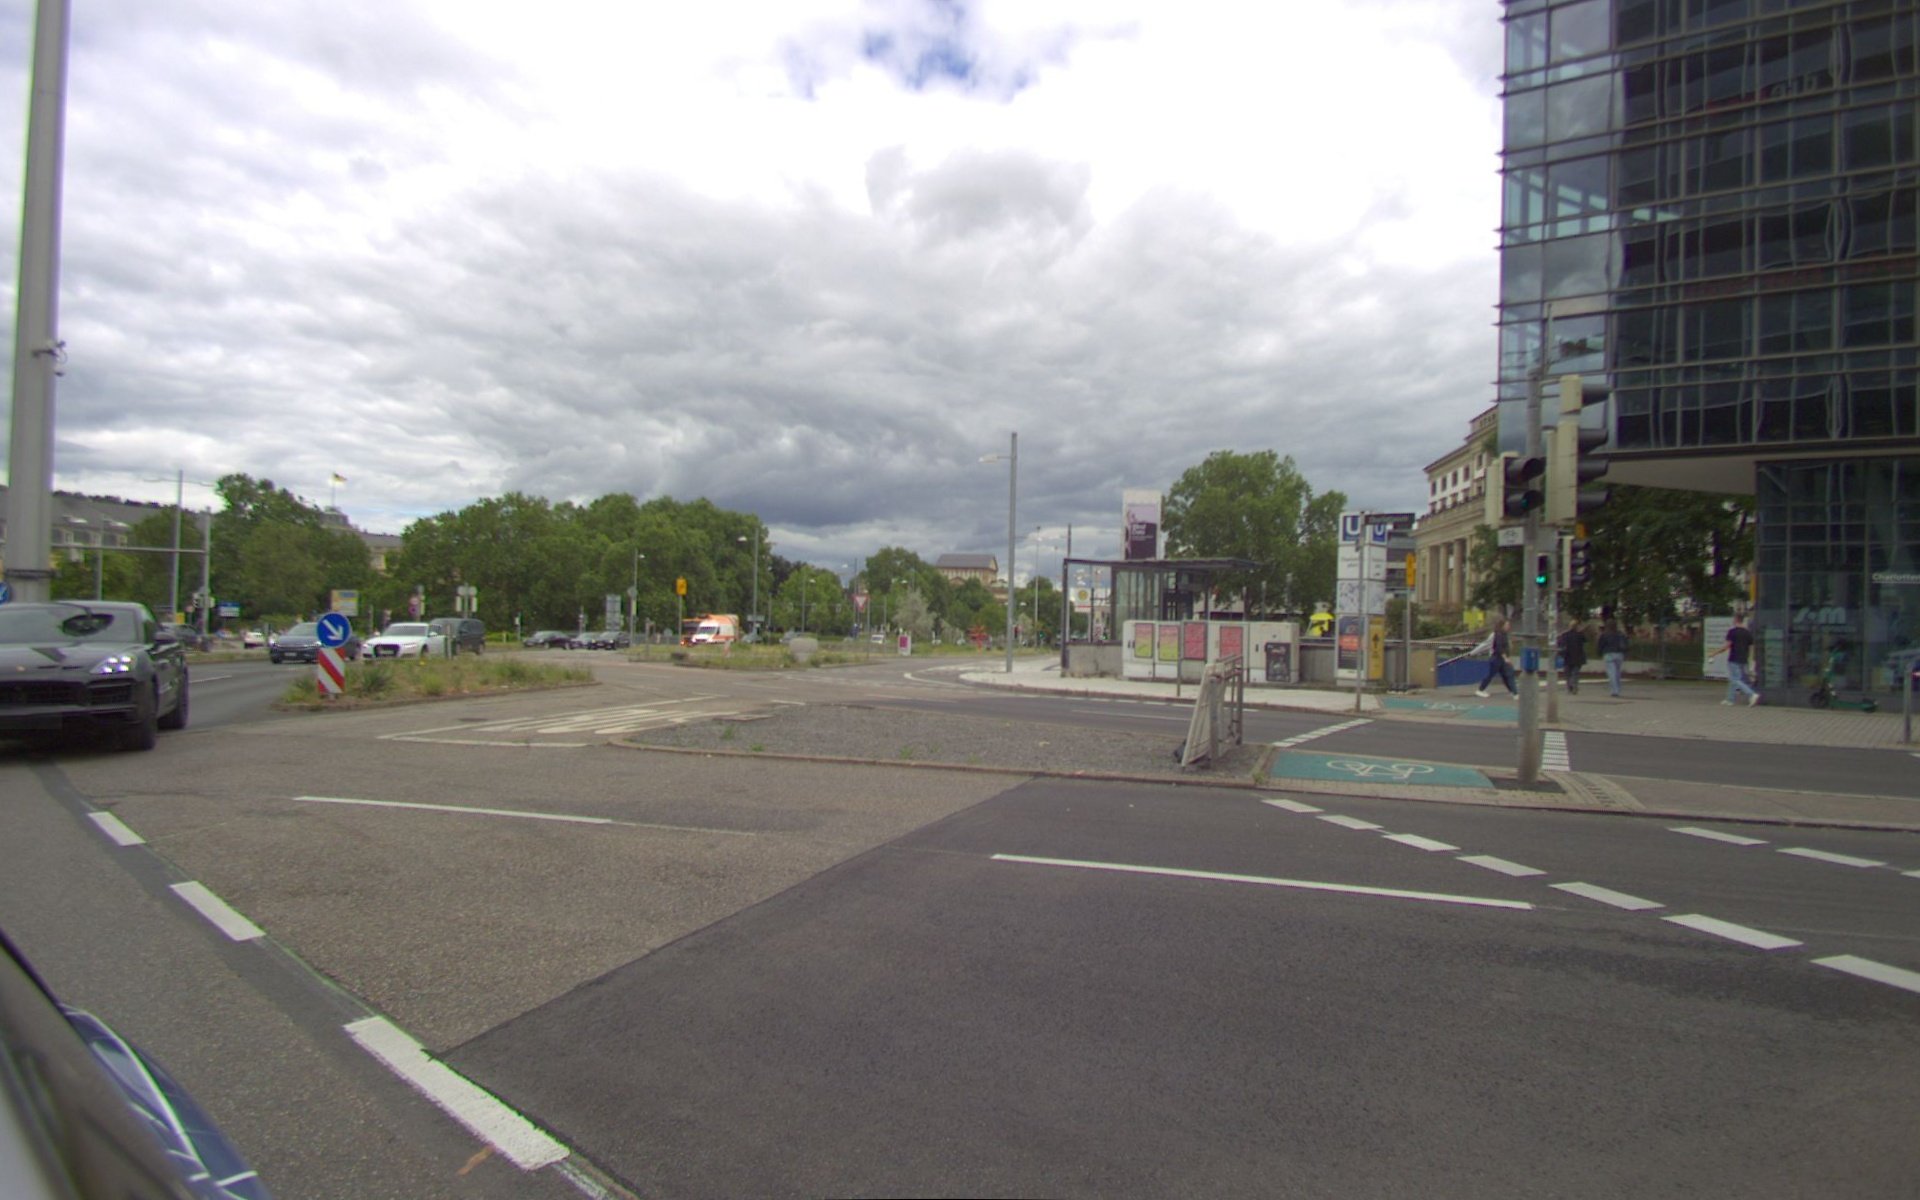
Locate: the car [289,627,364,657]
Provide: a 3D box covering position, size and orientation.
[{"bbox_3d":[-34.642,2.322,55.479,1.966,1.516,5.053,0,-3,-14],"label":"car"}]

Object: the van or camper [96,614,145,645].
[{"bbox_3d":[-54.480,1.869,65.644,4.714,1.931,1.840,-1,-2,43],"label":"van or camper"}]

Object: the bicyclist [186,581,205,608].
[{"bbox_3d":[-47.434,-0.332,62.763,0.501,1.652,0.717,0,-3,18],"label":"bicyclist"}]

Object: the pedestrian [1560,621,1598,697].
[{"bbox_3d":[14.218,1.343,23.259,0.629,1.713,0.763,-1,-2,26],"label":"pedestrian"}]

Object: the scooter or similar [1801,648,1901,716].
[{"bbox_3d":[17.063,1.548,19.409,0.525,1.217,1.388,1,-2,-10],"label":"scooter or similar"}]

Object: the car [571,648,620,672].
[{"bbox_3d":[-26.689,4.378,74.288,1.839,1.752,3.730,0,-3,8],"label":"car"}]

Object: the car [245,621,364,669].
[{"bbox_3d":[-23.276,1.578,36.121,1.969,1.614,4.006,0,-2,-7],"label":"car"}]

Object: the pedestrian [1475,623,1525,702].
[{"bbox_3d":[11.707,1.340,21.936,0.787,1.643,0.597,2,1,45],"label":"pedestrian"}]

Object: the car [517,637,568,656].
[{"bbox_3d":[-30.991,3.422,75.181,1.758,1.283,3.844,0,-1,9],"label":"car"}]

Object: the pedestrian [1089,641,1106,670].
[{"bbox_3d":[6.697,2.691,49.286,0.700,1.363,0.757,0,-3,16],"label":"pedestrian"}]

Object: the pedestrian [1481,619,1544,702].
[{"bbox_3d":[11.497,1.239,21.063,0.966,1.625,0.645,2,0,45],"label":"pedestrian"}]

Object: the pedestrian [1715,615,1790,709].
[{"bbox_3d":[15.771,1.219,20.154,0.686,1.824,0.933,0,-2,-4],"label":"pedestrian"}]

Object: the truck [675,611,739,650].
[{"bbox_3d":[-24.445,3.003,98.268,2.698,3.644,9.151,0,-3,9],"label":"truck"}]

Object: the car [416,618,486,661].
[{"bbox_3d":[-25.780,1.992,51.460,1.831,2.003,4.651,2,-2,-10],"label":"car"}]

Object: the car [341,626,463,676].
[{"bbox_3d":[-19.409,1.749,35.464,2.066,1.621,4.415,-1,-2,-3],"label":"car"}]

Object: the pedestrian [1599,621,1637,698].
[{"bbox_3d":[14.925,1.343,22.970,0.629,1.713,0.638,-1,-2,26],"label":"pedestrian"}]

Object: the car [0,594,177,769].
[{"bbox_3d":[-10.437,0.850,11.688,1.973,1.651,5.032,1,-2,-35],"label":"car"}]

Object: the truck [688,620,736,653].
[{"bbox_3d":[-21.987,3.284,90.090,1.935,2.805,5.769,0,-3,10],"label":"truck"}]

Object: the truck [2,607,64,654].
[{"bbox_3d":[-72.436,2.386,79.051,8.349,3.516,2.753,-2,-3,43],"label":"truck"}]

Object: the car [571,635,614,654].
[{"bbox_3d":[-29.575,3.557,81.629,1.758,1.475,3.573,0,-1,9],"label":"car"}]

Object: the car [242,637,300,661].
[{"bbox_3d":[-42.052,2.999,61.867,1.700,1.429,3.657,0,-2,-13],"label":"car"}]
